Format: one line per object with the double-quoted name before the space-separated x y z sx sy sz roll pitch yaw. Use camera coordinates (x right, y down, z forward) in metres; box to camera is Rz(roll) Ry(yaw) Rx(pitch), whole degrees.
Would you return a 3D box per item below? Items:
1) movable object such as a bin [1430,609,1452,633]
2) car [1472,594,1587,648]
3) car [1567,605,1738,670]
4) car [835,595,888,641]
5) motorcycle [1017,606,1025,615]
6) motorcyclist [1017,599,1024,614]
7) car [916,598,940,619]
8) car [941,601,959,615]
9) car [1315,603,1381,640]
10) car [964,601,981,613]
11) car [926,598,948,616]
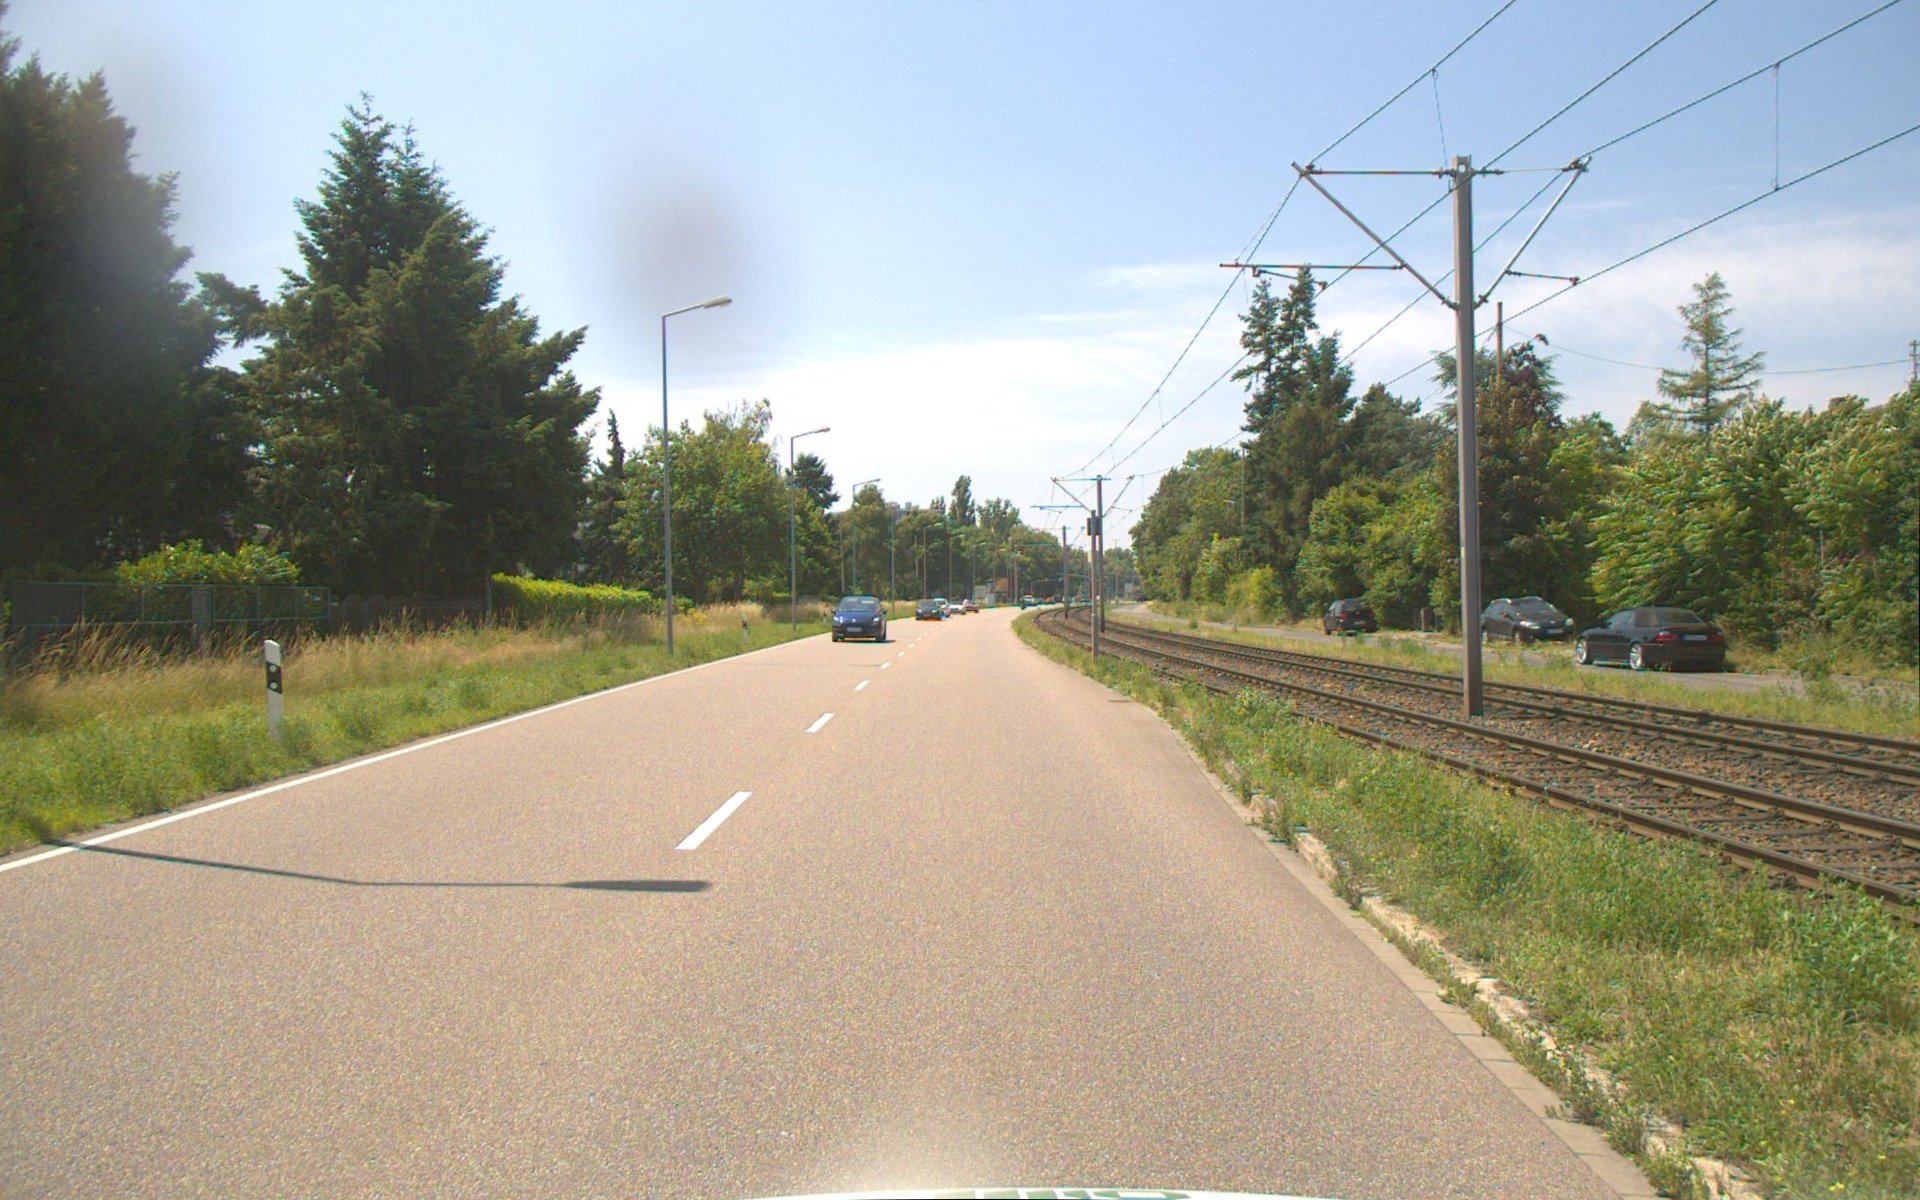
"movable object such as a bin" 18.949 0.819 65.198 0.709 0.953 0.621 0 0 0
"car" 17.734 0.639 51.750 1.895 1.588 4.554 0 0 -2
"car" 15.416 0.801 37.085 1.823 1.353 4.513 0 0 -2
"car" -3.586 0.647 60.554 1.711 1.660 4.029 0 0 0
"motorcycle" 7.832 1.394 212.612 0.949 1.137 2.734 0 0 5
"motorcyclist" 7.812 0.808 212.615 0.873 1.938 1.016 0 -1 5
"car" -2.330 0.621 120.946 1.665 1.517 4.440 0 0 1
"car" -0.977 0.771 157.586 1.647 1.271 3.909 0 0 1
"car" 16.290 0.883 69.641 1.874 1.496 4.000 0 0 1
"car" 1.312 0.738 175.939 1.713 1.324 4.254 0 0 1
"car" -1.915 0.586 138.360 1.711 1.529 3.707 0 0 1
